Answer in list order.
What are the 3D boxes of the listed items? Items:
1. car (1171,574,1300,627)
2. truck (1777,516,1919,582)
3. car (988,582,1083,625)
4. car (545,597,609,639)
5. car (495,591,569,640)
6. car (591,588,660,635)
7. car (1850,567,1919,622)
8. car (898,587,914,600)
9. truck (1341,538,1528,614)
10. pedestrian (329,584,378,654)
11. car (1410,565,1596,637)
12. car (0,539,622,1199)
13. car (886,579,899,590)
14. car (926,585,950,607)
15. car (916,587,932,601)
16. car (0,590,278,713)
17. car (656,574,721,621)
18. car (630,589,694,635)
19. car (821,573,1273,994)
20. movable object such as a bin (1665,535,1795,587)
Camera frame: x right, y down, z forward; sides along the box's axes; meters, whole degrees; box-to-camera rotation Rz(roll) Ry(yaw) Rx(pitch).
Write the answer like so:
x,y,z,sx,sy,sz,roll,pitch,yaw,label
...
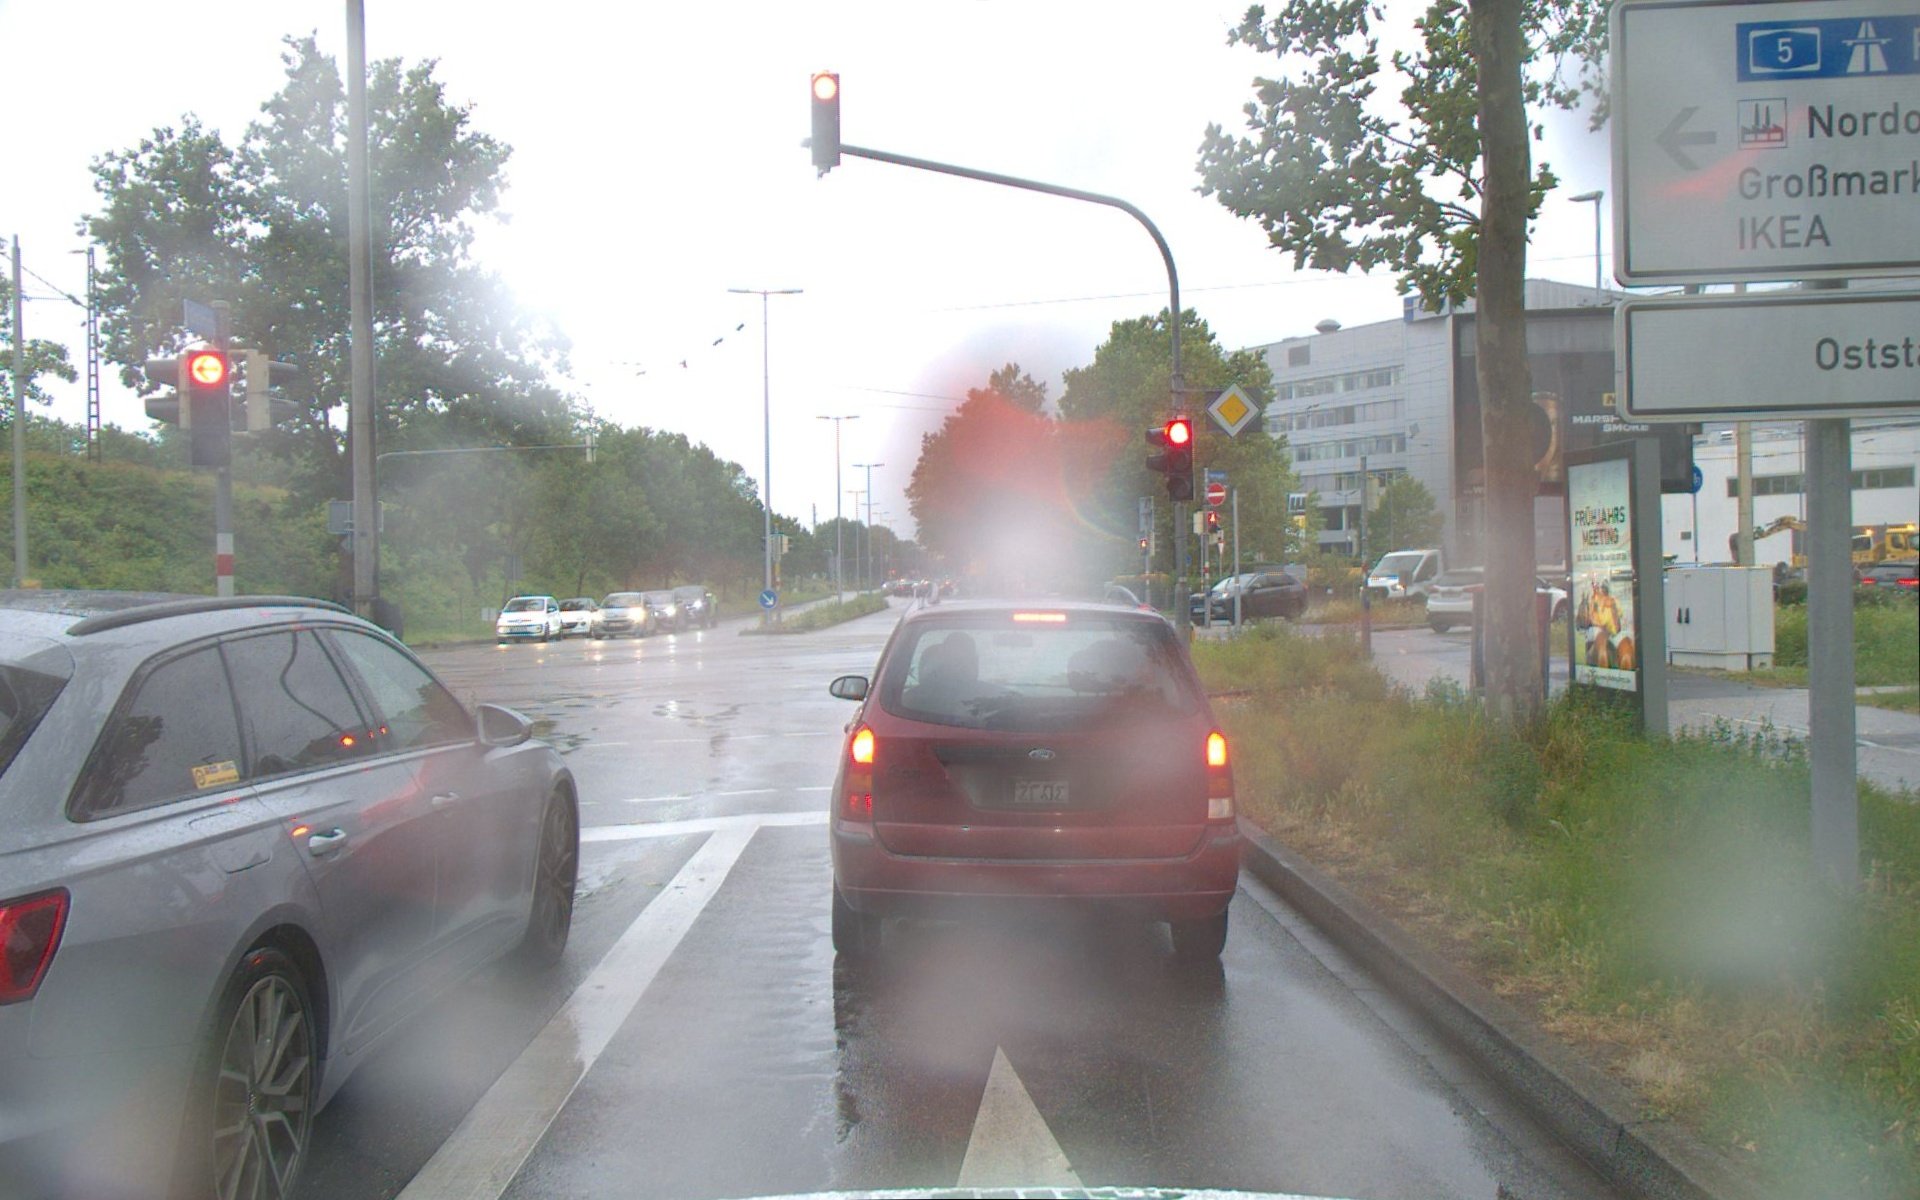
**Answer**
x,y,z,sx,sy,sz,roll,pitch,yaw,label
8.945,0.003,53.525,4.202,1.586,1.723,-1,0,-38,car
52.806,-2.967,97.359,3.292,3.568,7.789,-2,0,-36,truck
3.344,0.149,73.312,1.985,1.822,3.935,1,0,-44,car
-14.130,0.629,61.206,1.558,1.428,3.822,-2,1,-2,car
-14.159,0.487,54.881,1.605,1.478,3.785,-2,1,-3,car
-11.280,0.364,55.968,1.605,1.499,3.964,-2,1,-1,car
29.240,-0.193,50.517,4.576,1.614,1.902,-1,0,-37,car
-6.500,-0.761,198.976,1.663,1.554,3.846,-1,0,1,car
15.816,-0.818,54.929,6.796,2.406,2.449,-1,0,-38,truck
-16.646,0.504,45.431,1.083,1.879,1.127,-1,0,-13,pedestrian
12.877,0.005,39.141,4.575,1.614,1.902,-1,0,-37,car
-2.291,0.673,4.823,1.733,1.601,4.819,1,1,-2,car
-9.998,-2.238,244.439,1.663,1.554,3.846,-1,0,1,car
-1.590,-0.288,121.837,1.636,1.554,3.846,-1,0,1,car
-4.111,-0.736,188.786,1.663,1.554,3.846,-1,0,0,car
-11.955,0.666,22.368,4.774,1.517,1.904,-1,0,-35,car
-11.641,-0.132,71.304,2.024,1.851,5.539,-2,1,-2,car
-11.352,0.454,63.207,1.727,1.614,4.811,-2,0,-2,car
0.262,0.677,7.807,1.609,1.490,3.731,1,0,-2,car
48.352,-2.442,103.971,3.292,3.048,6.634,-2,0,-36,movable object such as a bin
